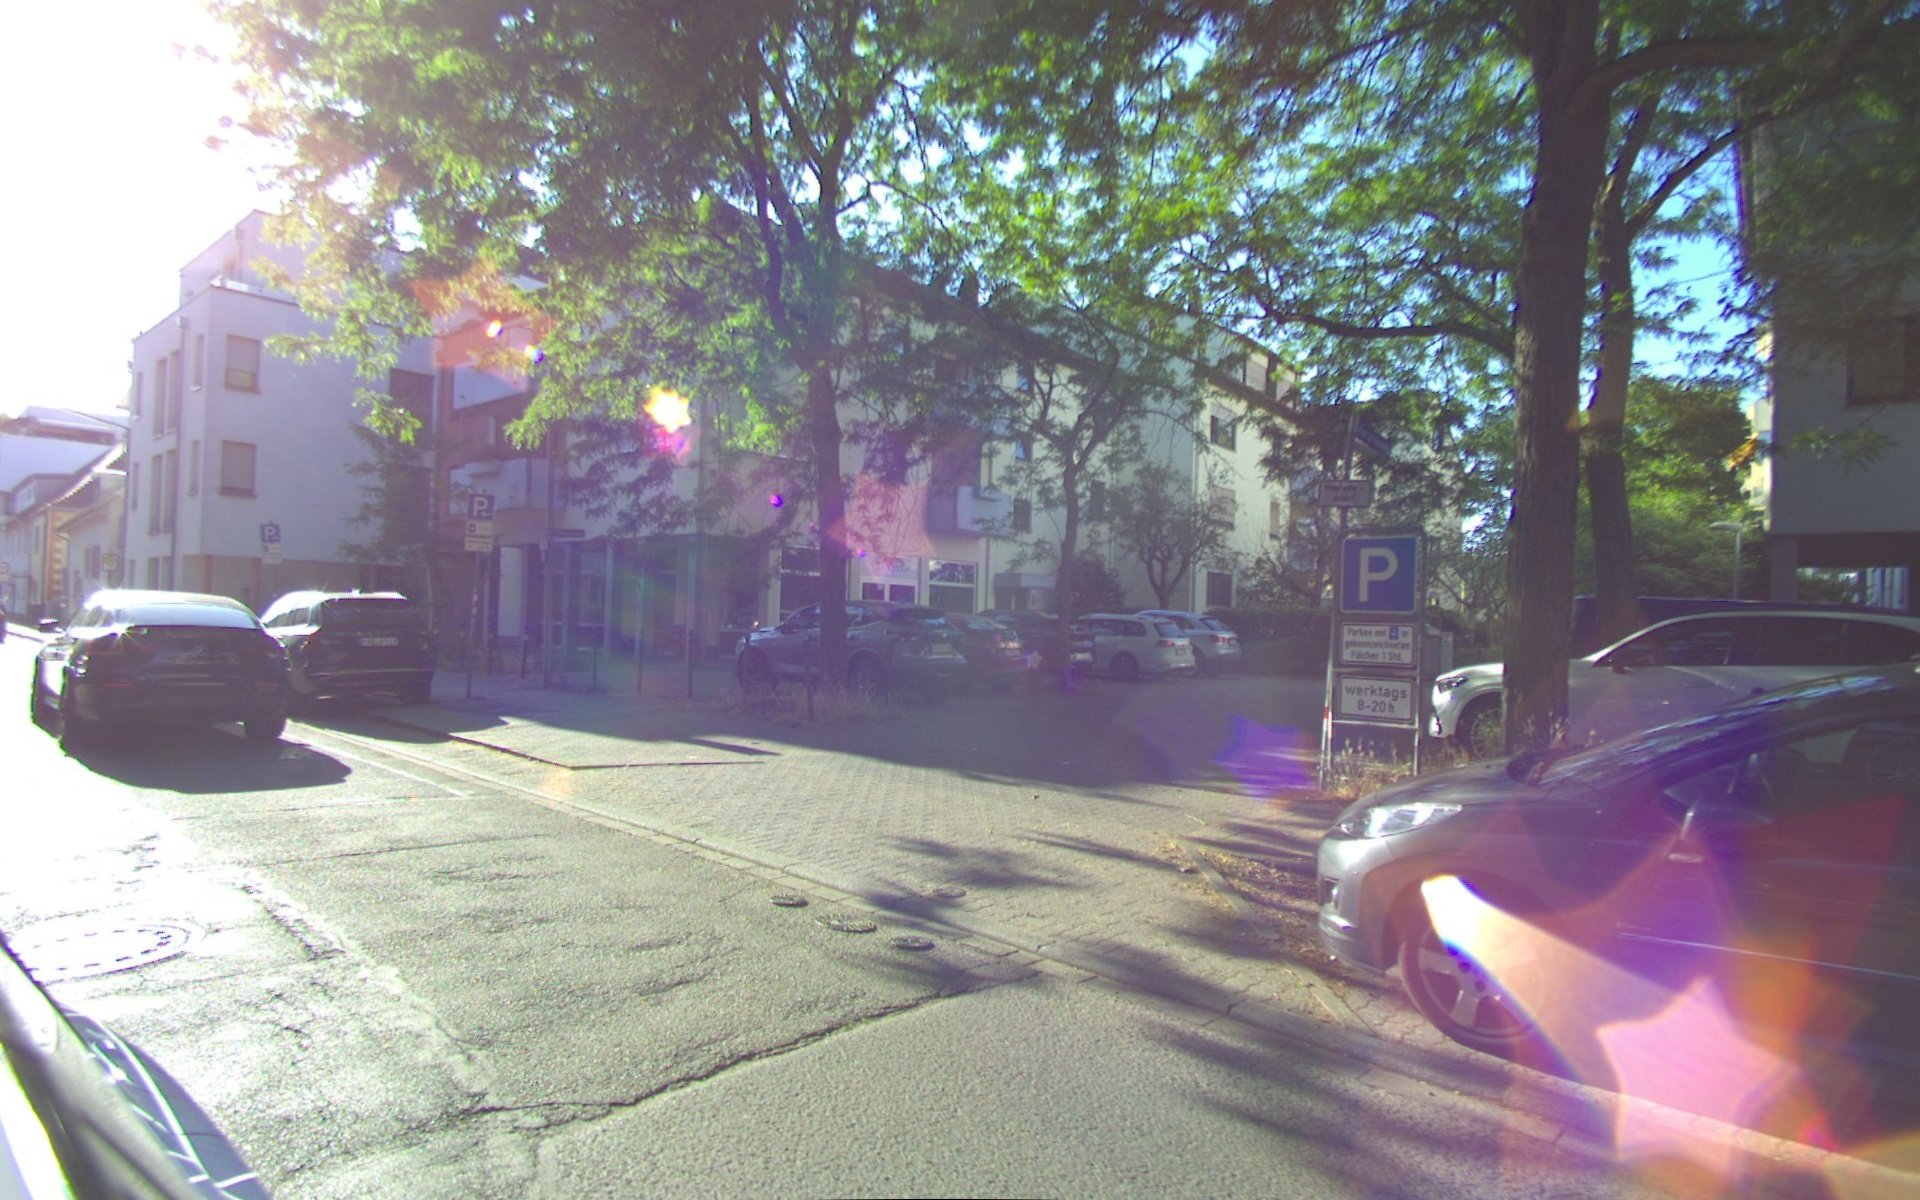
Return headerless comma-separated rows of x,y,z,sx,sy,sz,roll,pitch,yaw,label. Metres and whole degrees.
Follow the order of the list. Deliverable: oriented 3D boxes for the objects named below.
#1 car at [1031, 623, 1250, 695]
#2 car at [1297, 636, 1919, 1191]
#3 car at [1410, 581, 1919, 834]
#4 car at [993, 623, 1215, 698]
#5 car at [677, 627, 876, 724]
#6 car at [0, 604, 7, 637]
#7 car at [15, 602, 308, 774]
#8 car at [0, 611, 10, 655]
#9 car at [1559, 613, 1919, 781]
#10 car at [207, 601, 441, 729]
4.401,1.397,25.321,5.187,1.572,1.917,0,-3,43,car
3.380,0.911,3.311,4.001,1.503,1.678,0,-2,43,car
6.912,0.860,9.158,4.903,1.909,1.824,-1,-3,41,car
3.255,1.316,23.534,4.829,1.487,1.973,0,0,41,car
-3.198,1.227,17.245,1.503,1.419,3.641,4,-3,-45,car
-50.977,1.103,52.375,3.999,1.640,1.973,0,4,42,car
-9.227,0.862,11.563,4.319,1.588,1.918,0,-3,43,car
-34.163,1.067,34.757,3.998,1.478,1.788,0,-3,41,car
10.655,1.206,13.731,4.311,1.963,2.002,0,-2,33,car
-10.162,0.878,15.985,5.101,1.718,1.910,0,0,43,car
